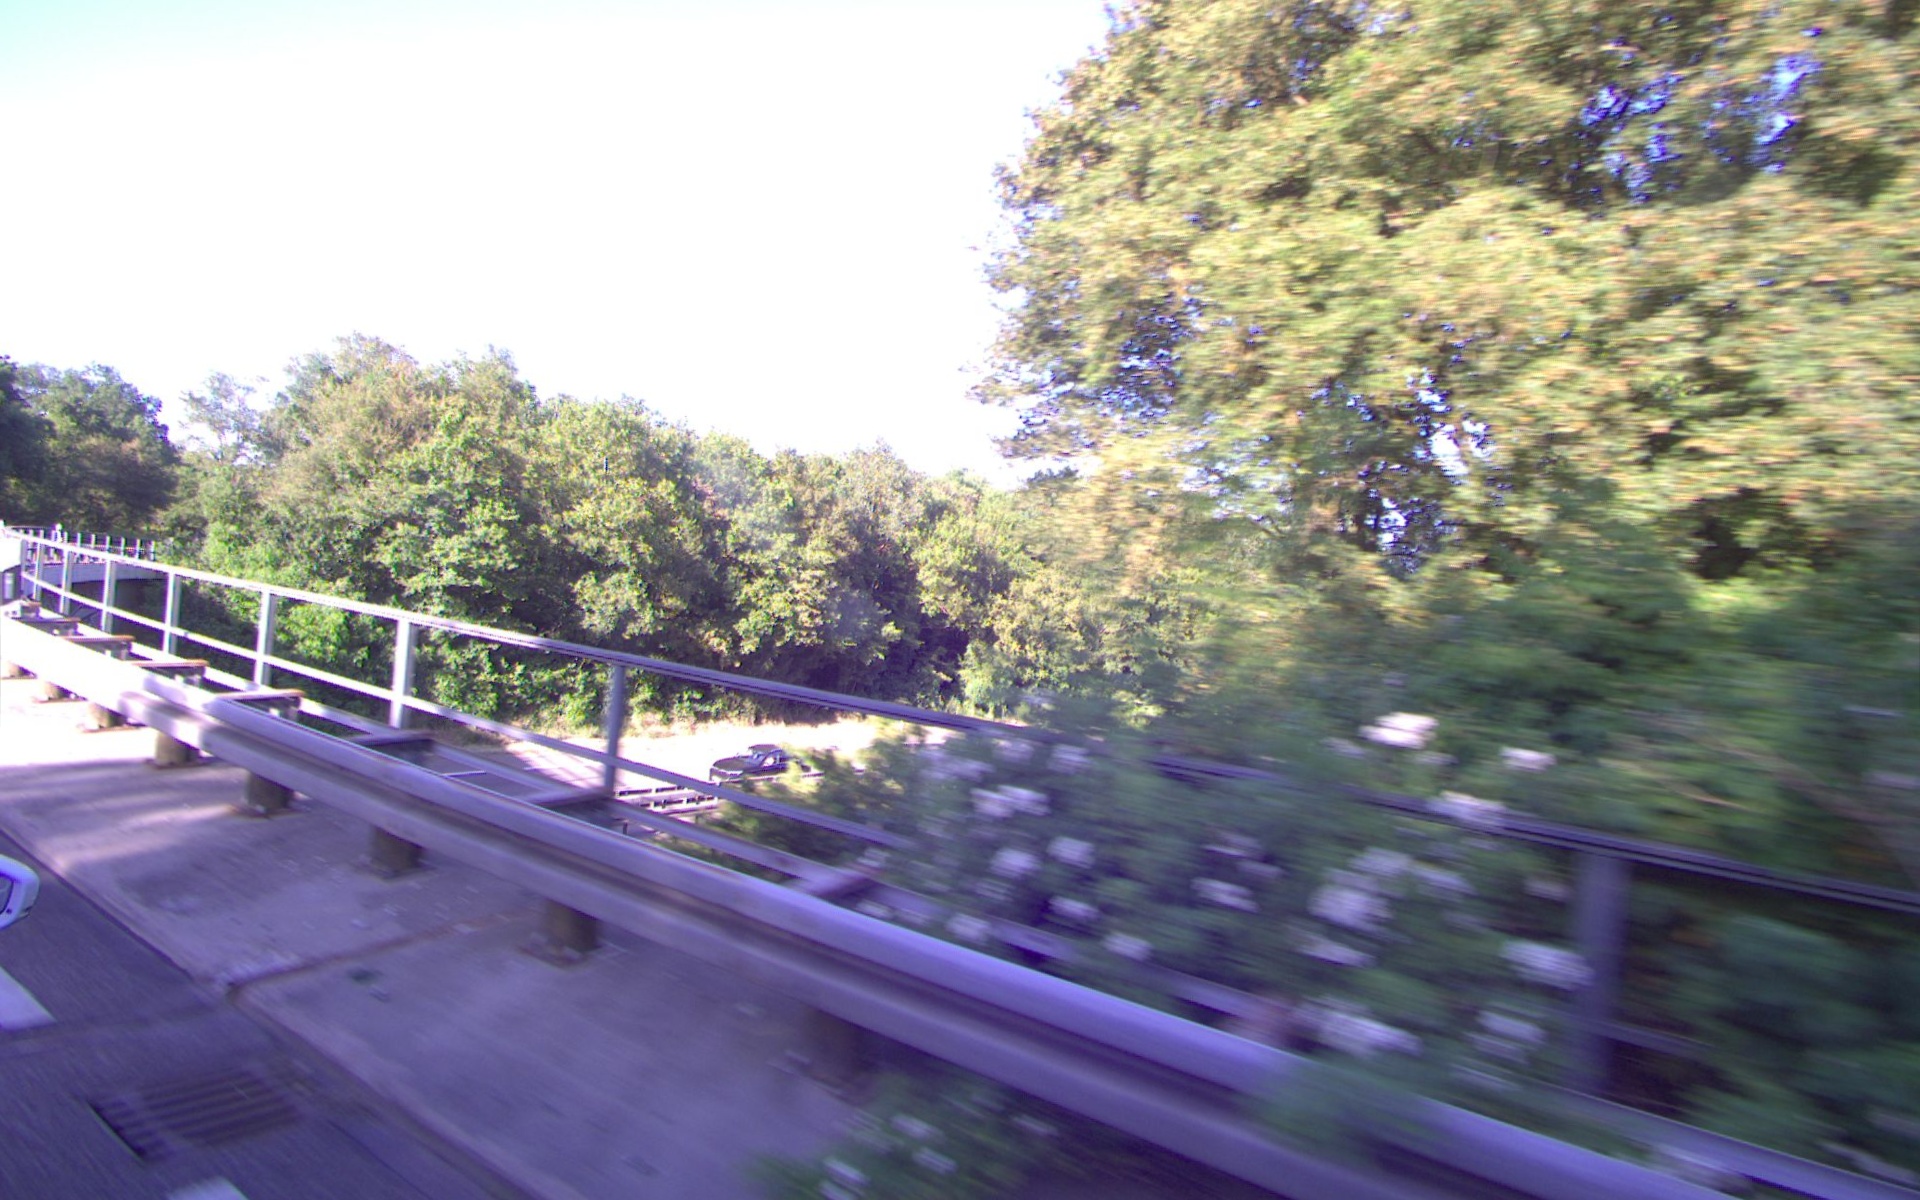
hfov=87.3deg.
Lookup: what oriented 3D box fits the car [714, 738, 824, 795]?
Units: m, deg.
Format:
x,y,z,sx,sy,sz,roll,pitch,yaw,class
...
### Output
x,y,z,sx,sy,sz,roll,pitch,yaw,class
-7.687,6.707,40.789,1.842,1.705,3.981,8,1,40,car
